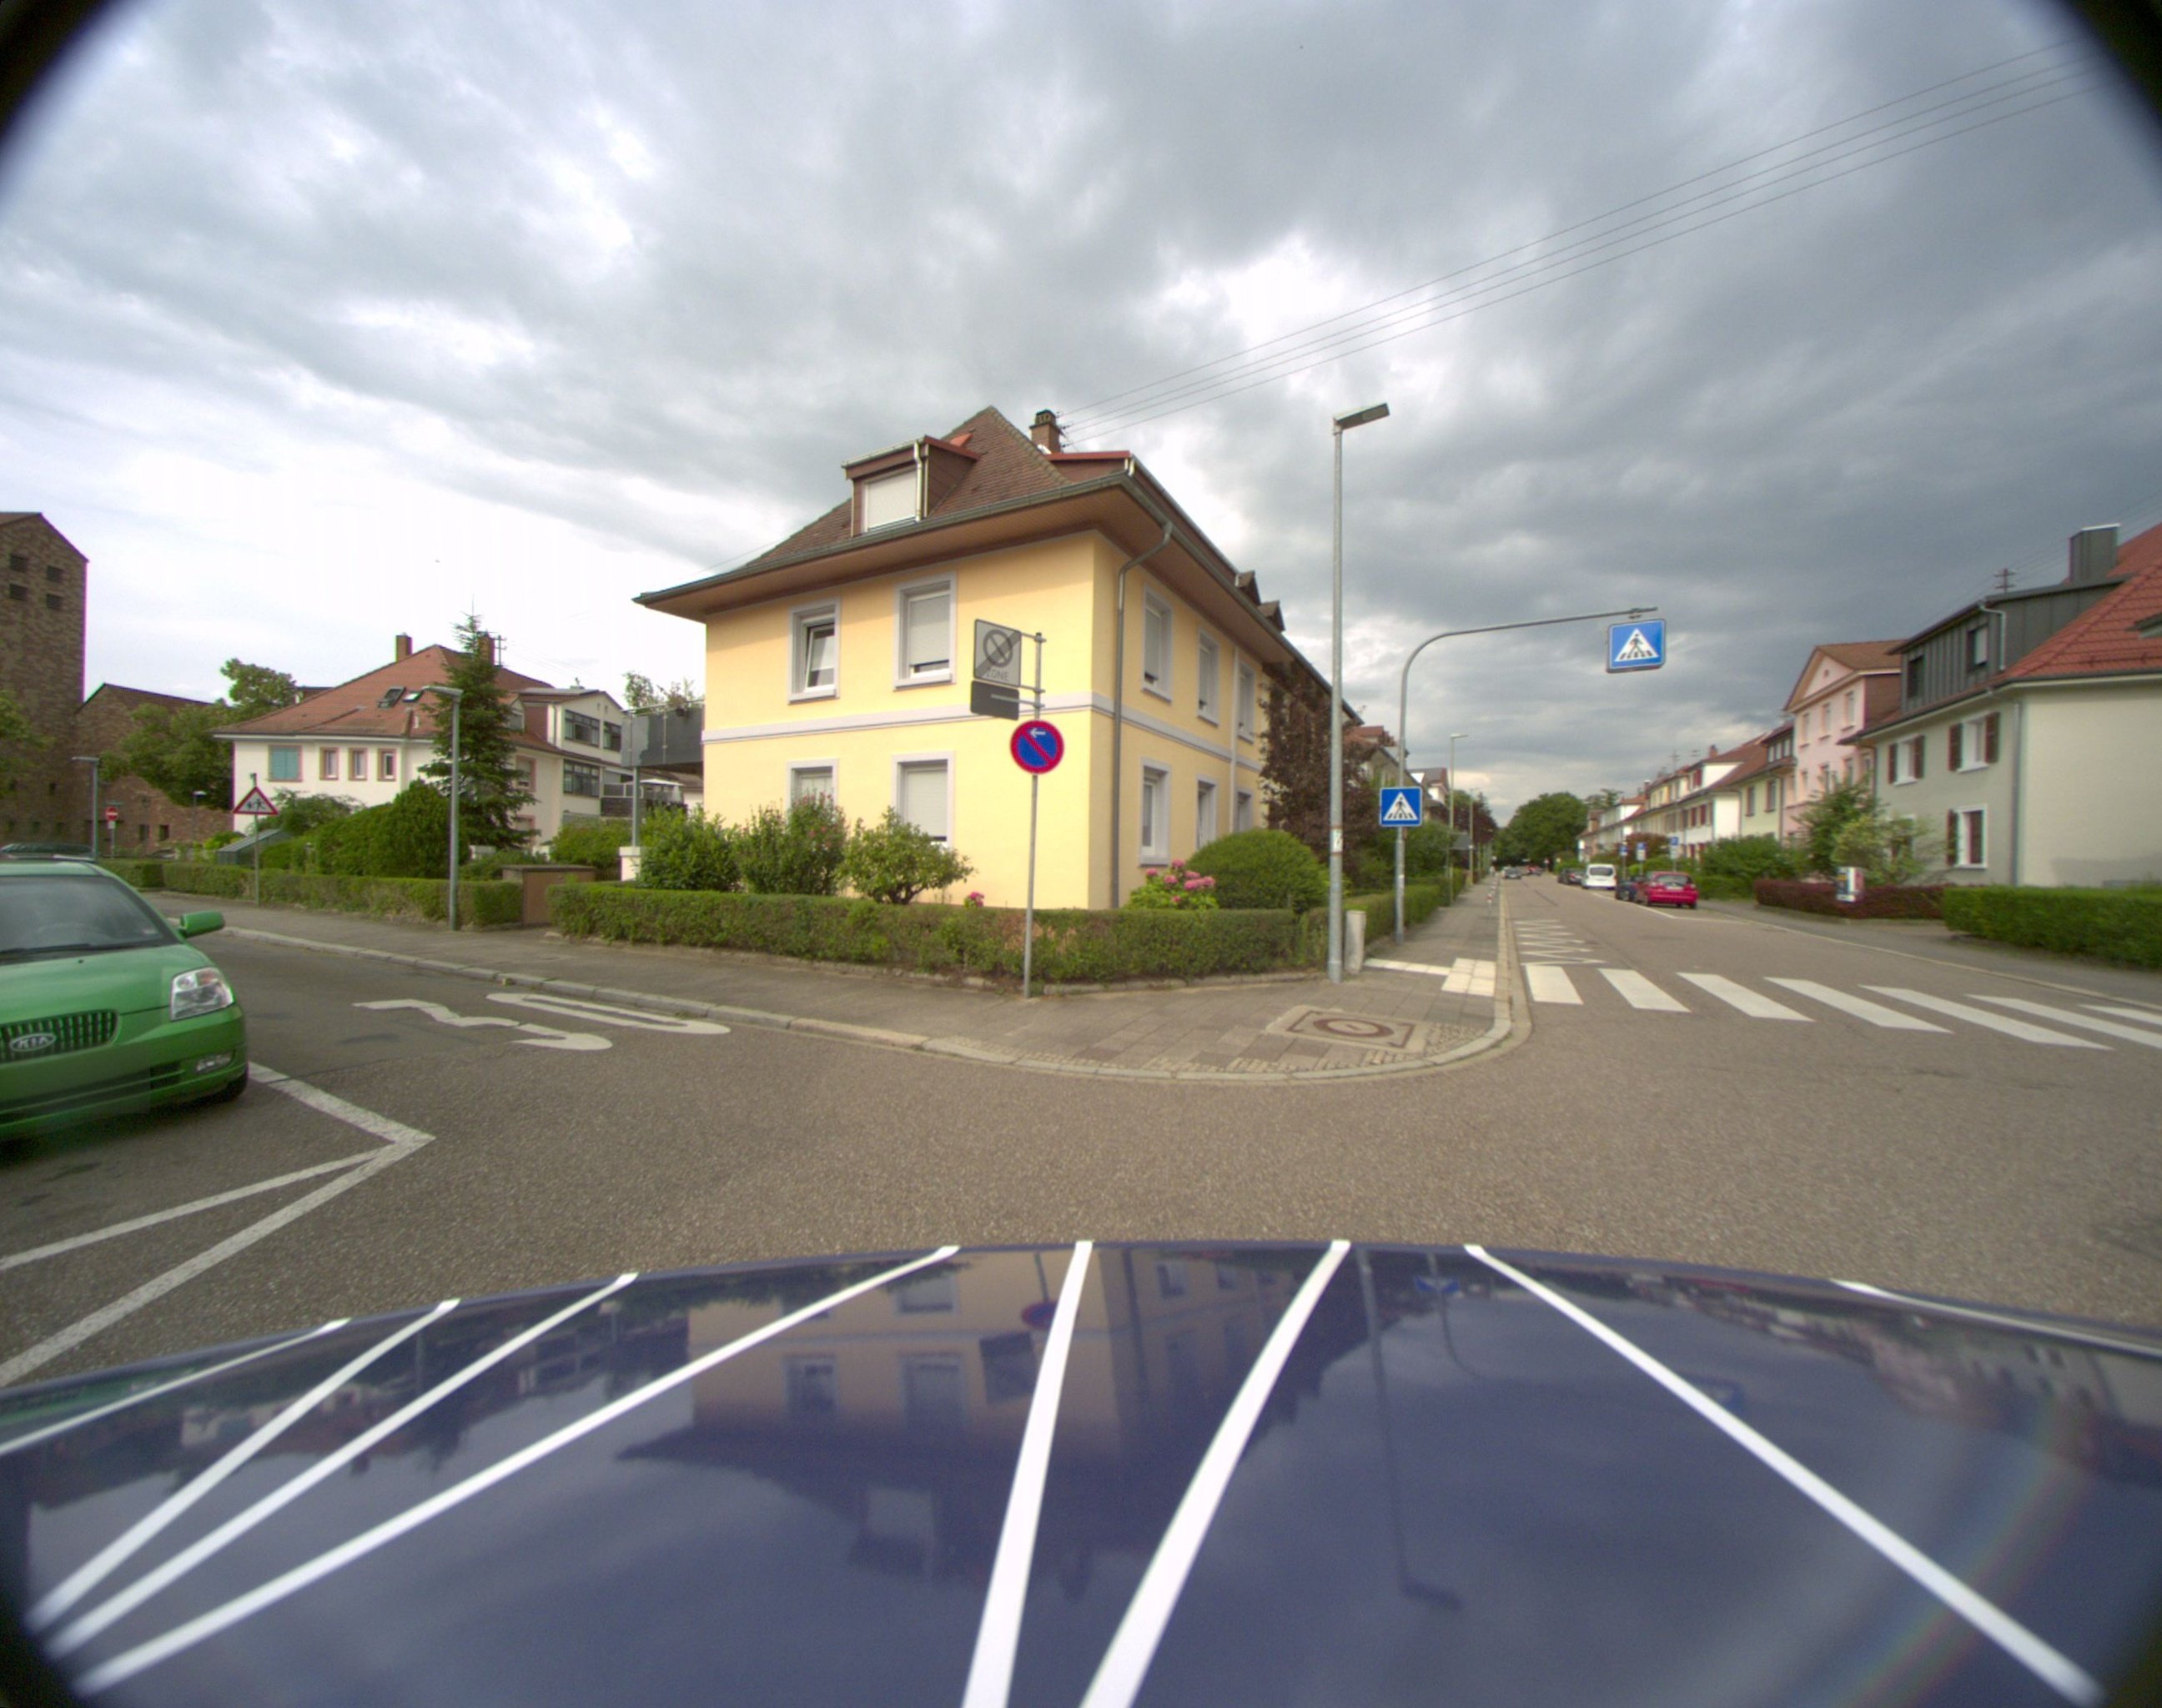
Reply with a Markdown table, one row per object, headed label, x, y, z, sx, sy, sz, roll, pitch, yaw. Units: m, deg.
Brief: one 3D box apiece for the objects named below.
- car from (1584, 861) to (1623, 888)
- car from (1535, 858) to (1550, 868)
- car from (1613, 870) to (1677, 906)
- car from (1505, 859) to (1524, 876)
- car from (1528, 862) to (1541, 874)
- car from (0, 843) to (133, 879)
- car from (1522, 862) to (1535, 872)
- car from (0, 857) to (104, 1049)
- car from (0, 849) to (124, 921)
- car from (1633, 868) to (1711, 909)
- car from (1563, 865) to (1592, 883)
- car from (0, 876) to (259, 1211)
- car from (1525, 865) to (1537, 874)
| label | x | y | z | sx | sy | sz | roll | pitch | yaw |
| --- | --- | --- | --- | --- | --- | --- | --- | --- | --- |
| car | 39.173 | 1.518 | 57.056 | 1.994 | 1.892 | 4.008 | 1 | 0 | 29 |
| car | 79.653 | 1.508 | 131.131 | 1.730 | 1.696 | 4.007 | 3 | 1 | 25 |
| car | 27.529 | 1.608 | 37.207 | 1.994 | 1.565 | 4.008 | 1 | 0 | 29 |
| car | 53.918 | 1.672 | 94.621 | 1.994 | 2.002 | 4.008 | 1 | 0 | 29 |
| car | 84.356 | 2.620 | 141.311 | 1.994 | 2.002 | 4.008 | 3 | 1 | 29 |
| car | -45.733 | 0.308 | 33.771 | 1.679 | 1.455 | 4.236 | 3 | 1 | 29 |
| car | 77.379 | 2.245 | 131.398 | 1.831 | 1.477 | 4.008 | 3 | 1 | 28 |
| car | -10.455 | 0.832 | 6.681 | 3.472 | 1.488 | 1.653 | 1 | 3 | 28 |
| car | -24.080 | 0.659 | 17.471 | 4.030 | 1.471 | 1.859 | 1 | -2 | 29 |
| car | 25.188 | 1.401 | 32.516 | 1.994 | 1.565 | 4.008 | 1 | 0 | 29 |
| car | 46.527 | 1.865 | 71.262 | 1.994 | 1.565 | 4.008 | 1 | 0 | 29 |
| car | -6.564 | 0.937 | 4.341 | 3.472 | 1.414 | 1.653 | 1 | 3 | 28 |
| car | 87.852 | 2.949 | 148.442 | 1.798 | 1.645 | 4.008 | 3 | 1 | 30 |
